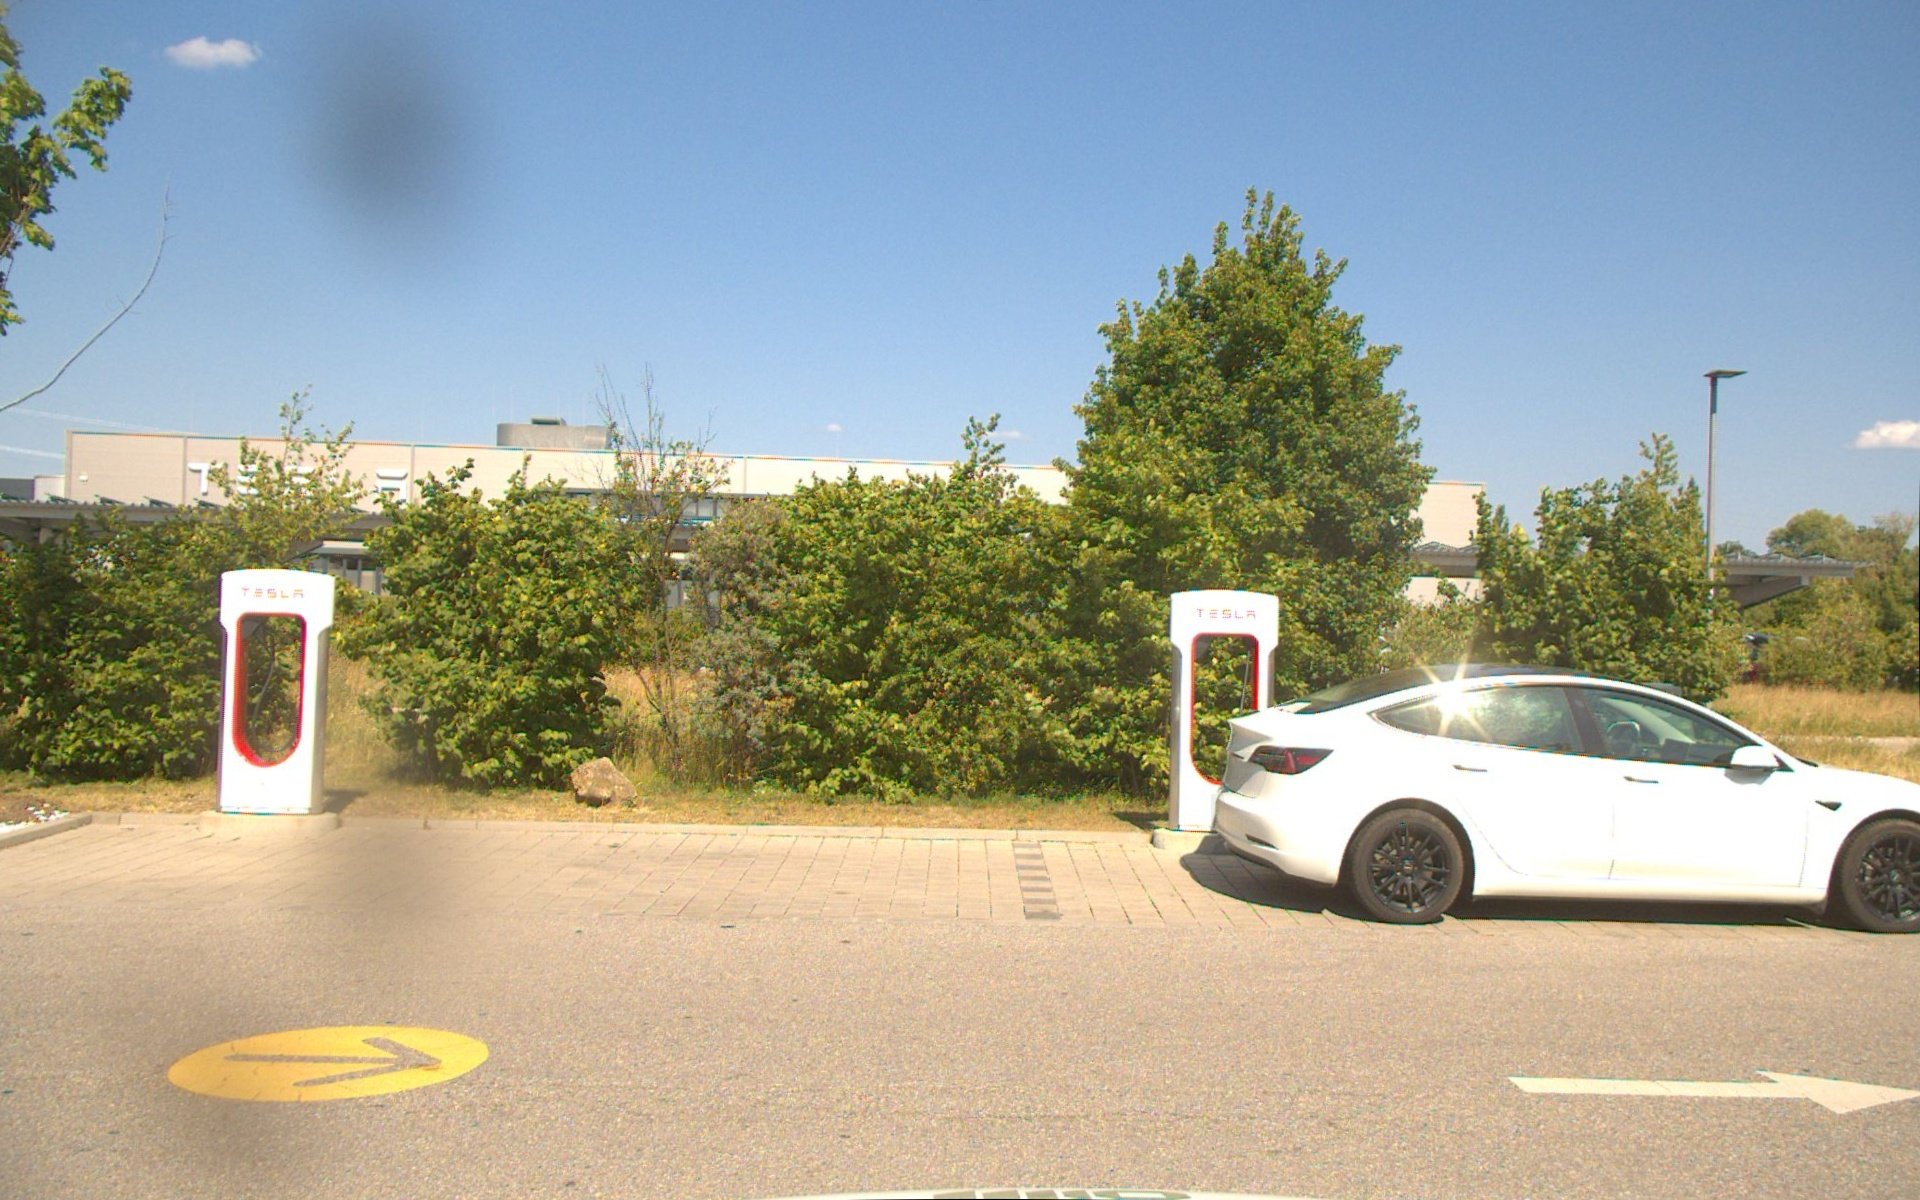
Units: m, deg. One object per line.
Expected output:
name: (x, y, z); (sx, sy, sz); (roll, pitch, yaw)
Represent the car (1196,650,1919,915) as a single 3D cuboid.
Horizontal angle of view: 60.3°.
car: (3.777, 1.062, 10.213); (4.344, 1.402, 1.822); (1, -1, -2)
